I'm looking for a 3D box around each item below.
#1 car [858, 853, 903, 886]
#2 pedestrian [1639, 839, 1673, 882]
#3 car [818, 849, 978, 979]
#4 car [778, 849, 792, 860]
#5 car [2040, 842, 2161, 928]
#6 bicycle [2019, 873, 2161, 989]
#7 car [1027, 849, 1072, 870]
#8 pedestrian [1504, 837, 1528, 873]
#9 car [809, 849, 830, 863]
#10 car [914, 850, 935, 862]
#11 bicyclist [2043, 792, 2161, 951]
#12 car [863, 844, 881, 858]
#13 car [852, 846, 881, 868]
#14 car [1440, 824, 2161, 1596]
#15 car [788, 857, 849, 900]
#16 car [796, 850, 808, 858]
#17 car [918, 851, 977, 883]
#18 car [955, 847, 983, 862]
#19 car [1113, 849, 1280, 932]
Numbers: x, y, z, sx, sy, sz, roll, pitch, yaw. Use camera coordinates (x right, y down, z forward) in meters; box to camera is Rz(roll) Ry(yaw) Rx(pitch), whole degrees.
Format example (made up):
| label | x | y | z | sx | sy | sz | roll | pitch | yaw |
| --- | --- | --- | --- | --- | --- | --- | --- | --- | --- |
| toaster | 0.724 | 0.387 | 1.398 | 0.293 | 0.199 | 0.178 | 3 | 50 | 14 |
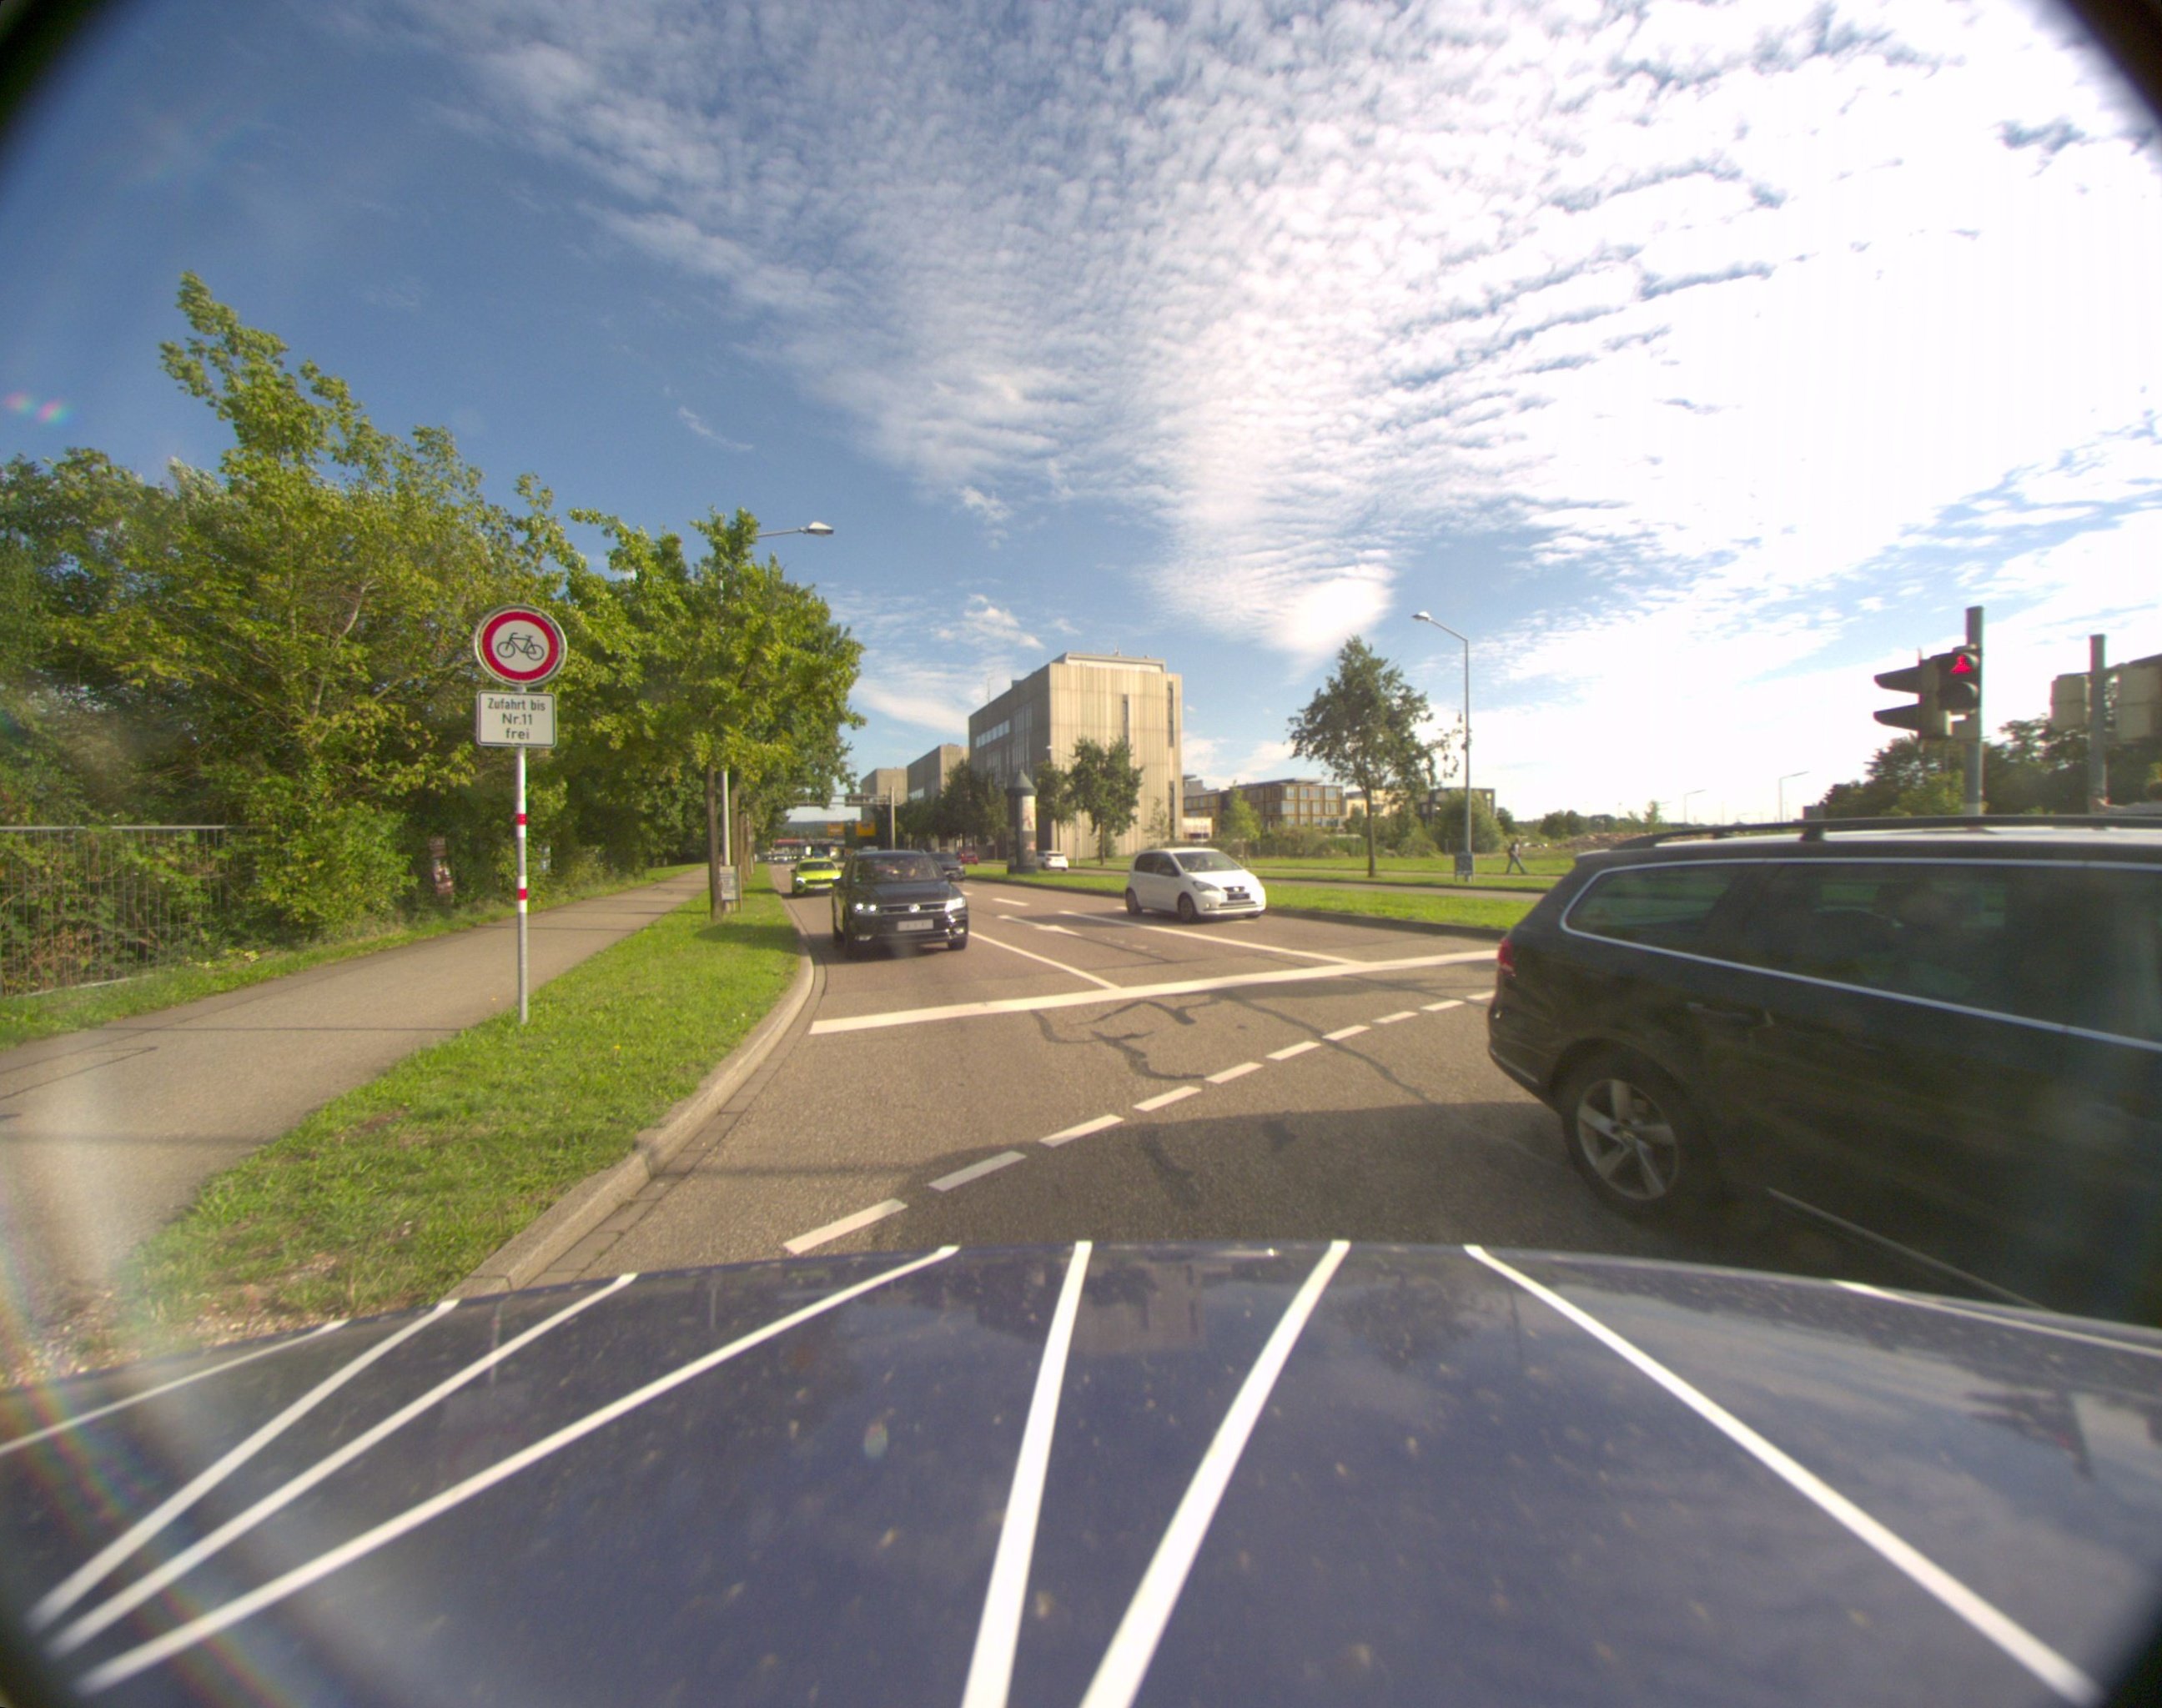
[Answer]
| label | x | y | z | sx | sy | sz | roll | pitch | yaw |
| --- | --- | --- | --- | --- | --- | --- | --- | --- | --- |
| car | -10.088 | 0.723 | 38.067 | 1.696 | 1.466 | 4.219 | -2 | 1 | -21 |
| pedestrian | 21.235 | 0.233 | 28.065 | 0.629 | 1.500 | 0.755 | -5 | 3 | -28 |
| car | -3.399 | 0.816 | 13.253 | 1.874 | 1.686 | 5.005 | -4 | 2 | -22 |
| car | -41.194 | 0.063 | 105.771 | 1.740 | 1.381 | 3.992 | -1 | 1 | -23 |
| car | 19.954 | 0.559 | 13.227 | 1.787 | 1.492 | 3.983 | 1 | -1 | -37 |
| bicycle | 10.907 | 0.739 | 7.786 | 1.963 | 1.001 | 1.000 | -1 | 1 | -18 |
| car | -2.323 | 0.390 | 55.203 | 1.688 | 1.425 | 3.984 | -1 | 1 | -29 |
| pedestrian | 19.732 | 0.044 | 34.445 | 0.629 | 1.620 | 0.656 | -3 | 2 | -21 |
| car | -32.396 | 0.216 | 94.044 | 2.002 | 1.652 | 4.793 | -1 | 1 | -24 |
| car | -20.153 | 0.272 | 97.811 | 1.858 | 1.425 | 4.060 | -2 | 1 | -23 |
| bicyclist | 10.823 | 0.165 | 7.761 | 0.866 | 1.547 | 0.996 | -1 | 1 | -18 |
| car | -34.405 | -0.549 | 125.030 | 2.036 | 2.241 | 5.530 | 0 | 0 | -24 |
| car | -18.029 | 0.225 | 63.652 | 1.697 | 1.467 | 4.216 | -3 | 5 | -24 |
| car | 3.247 | 0.731 | 1.597 | 2.000 | 1.558 | 4.839 | -3 | 1 | -11 |
| car | -10.681 | 0.919 | 30.701 | 1.899 | 1.413 | 4.598 | -4 | 2 | -23 |
| car | -49.016 | 0.045 | 133.653 | 1.740 | 1.381 | 3.992 | -1 | 1 | -23 |
| car | -6.719 | 0.594 | 37.877 | 1.826 | 1.412 | 4.438 | -3 | 1 | -24 |
| car | -10.647 | 0.031 | 72.086 | 1.688 | 1.425 | 3.583 | -1 | 1 | -25 |
| car | 2.278 | 0.661 | 15.899 | 1.769 | 1.456 | 3.652 | -3 | 1 | -23 |
